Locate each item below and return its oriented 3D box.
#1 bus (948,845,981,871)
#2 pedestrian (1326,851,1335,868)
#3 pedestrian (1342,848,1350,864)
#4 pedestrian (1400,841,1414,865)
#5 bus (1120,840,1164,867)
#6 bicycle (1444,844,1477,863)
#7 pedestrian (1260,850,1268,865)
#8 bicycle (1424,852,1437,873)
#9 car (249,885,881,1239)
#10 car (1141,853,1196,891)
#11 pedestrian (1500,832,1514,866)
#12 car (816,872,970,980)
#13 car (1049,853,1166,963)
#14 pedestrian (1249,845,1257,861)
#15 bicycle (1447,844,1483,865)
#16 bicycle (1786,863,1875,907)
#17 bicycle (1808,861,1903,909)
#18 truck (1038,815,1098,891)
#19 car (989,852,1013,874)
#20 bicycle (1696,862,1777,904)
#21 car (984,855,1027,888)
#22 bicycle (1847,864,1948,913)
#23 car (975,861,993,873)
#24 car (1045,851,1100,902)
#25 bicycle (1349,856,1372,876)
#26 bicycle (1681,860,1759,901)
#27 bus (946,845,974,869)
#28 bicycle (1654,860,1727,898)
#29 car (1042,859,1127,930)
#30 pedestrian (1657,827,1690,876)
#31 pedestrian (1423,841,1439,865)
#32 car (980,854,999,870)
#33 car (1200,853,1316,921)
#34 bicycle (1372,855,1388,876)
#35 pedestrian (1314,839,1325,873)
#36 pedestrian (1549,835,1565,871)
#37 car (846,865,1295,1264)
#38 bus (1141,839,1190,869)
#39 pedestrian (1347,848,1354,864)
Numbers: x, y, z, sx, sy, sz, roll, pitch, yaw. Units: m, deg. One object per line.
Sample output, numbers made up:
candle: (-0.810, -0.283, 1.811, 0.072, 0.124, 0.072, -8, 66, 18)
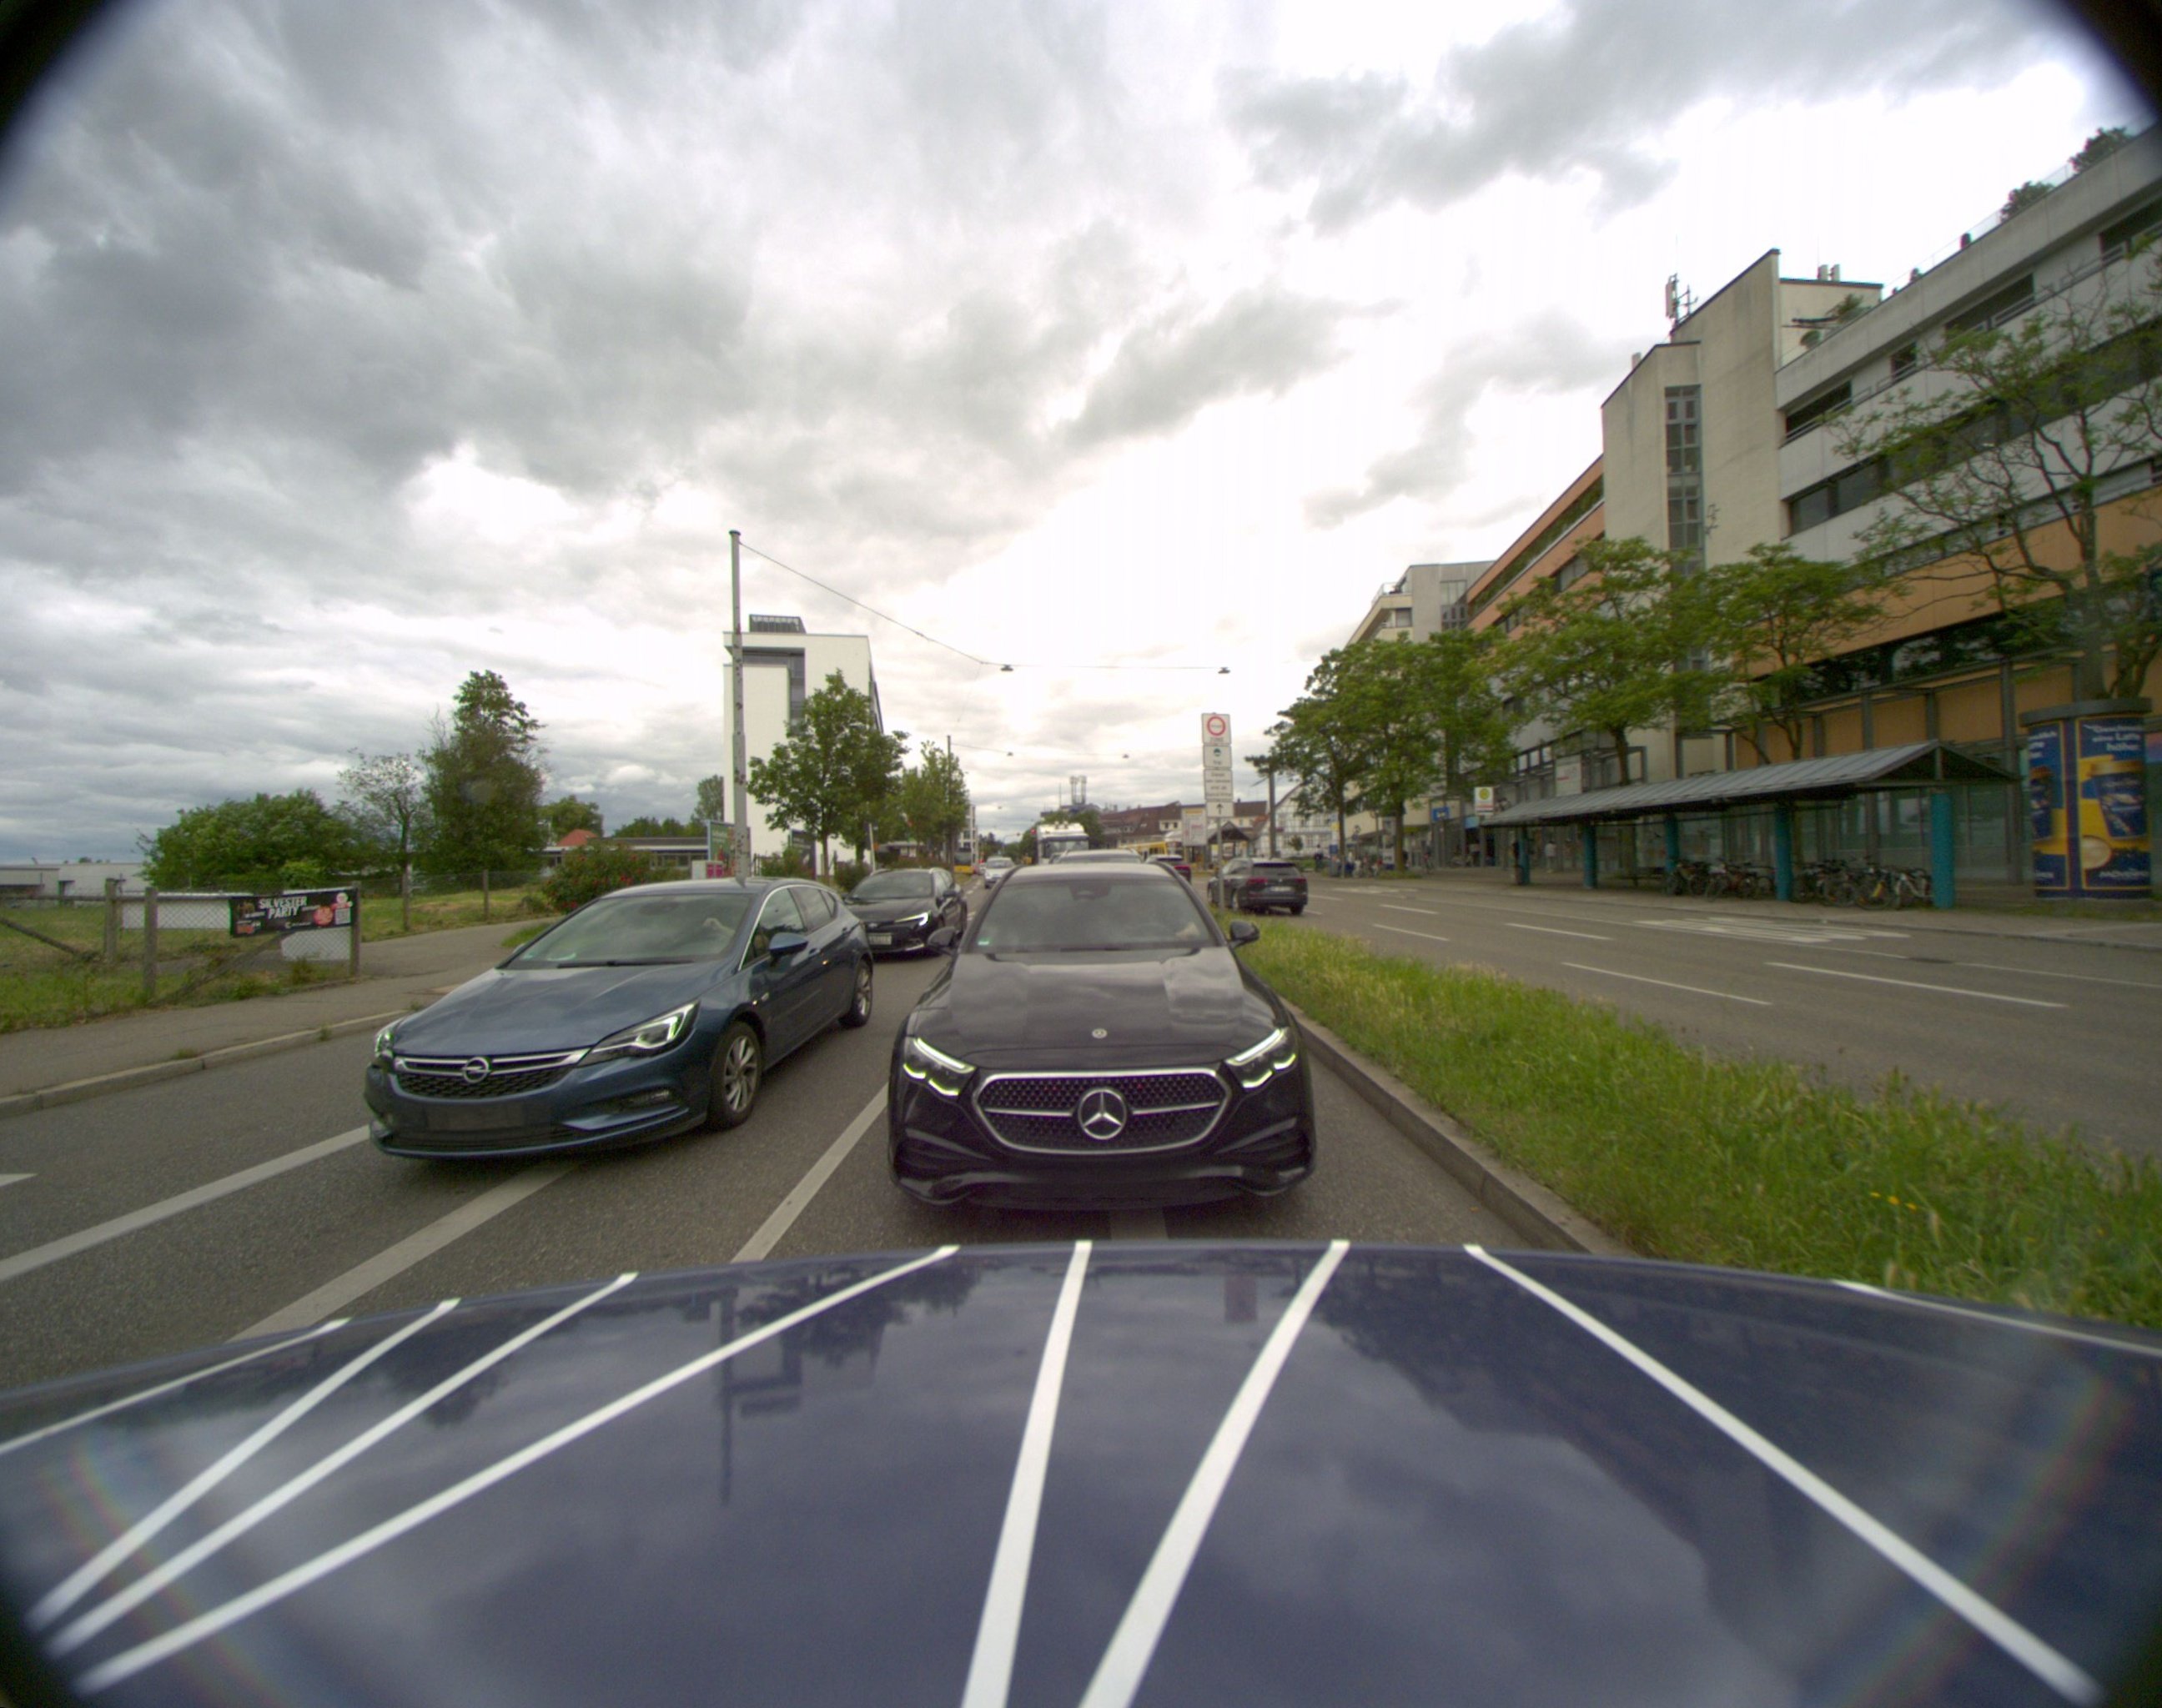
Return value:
bus: (-12.818, 0.387, 82.728, 2.969, 2.616, 12.137, -2, 1, -11)
pedestrian: (22.264, 0.510, 67.710, 0.577, 1.533, 0.583, -1, 1, -8)
pedestrian: (24.781, 0.216, 71.021, 0.555, 1.485, 0.454, -1, 1, 8)
pedestrian: (24.719, -0.086, 57.615, 0.765, 1.835, 0.752, -1, 1, 1)
bus: (6.933, -0.069, 87.952, 2.556, 2.966, 9.790, -1, 0, -11)
bicycle: (27.756, -0.033, 55.554, 2.138, 1.358, 0.620, -2, 1, 26)
pedestrian: (19.293, 0.358, 80.035, 0.577, 1.533, 0.583, -1, 1, -8)
bicycle: (19.486, 0.464, 42.386, 0.593, 1.119, 2.040, 0, 1, 24)
car: (-2.913, 1.048, 5.528, 1.826, 1.402, 4.000, -2, 0, 0)
car: (3.775, 0.733, 33.433, 1.840, 1.512, 4.070, 0, 1, -1)
pedestrian: (25.268, -0.315, 45.072, 0.566, 2.002, 0.611, -1, 1, 6)
car: (-3.085, 1.113, 13.269, 1.665, 1.448, 3.921, -2, 0, 0)
car: (0.393, 0.818, 13.484, 1.734, 1.601, 4.000, -2, 0, 0)
pedestrian: (22.349, -0.142, 98.961, 0.879, 2.002, 1.010, -1, 1, 6)
bicycle: (26.993, 0.025, 53.402, 2.139, 1.367, 0.620, -2, 1, 18)
bicycle: (19.025, 0.770, 19.310, 1.735, 1.035, 0.549, -2, 1, -2)
bicycle: (18.626, 0.748, 18.285, 1.735, 1.035, 0.549, -3, 1, -2)
truck: (-0.767, -0.046, 36.725, 2.490, 3.258, 7.428, -1, 0, -4)
car: (-7.548, 0.826, 71.433, 1.853, 1.875, 4.132, -3, 0, -11)
bicycle: (17.948, 0.786, 20.812, 1.735, 1.035, 0.549, -3, 1, -2)
car: (-4.078, 0.910, 41.621, 1.851, 1.606, 3.783, -3, 0, 0)
bicycle: (18.685, 0.780, 17.400, 1.735, 1.035, 0.549, -2, 1, -2)
car: (-13.970, 1.853, 109.752, 1.998, 1.592, 4.000, -1, 0, 2)
car: (-0.366, 0.773, 28.346, 1.865, 1.773, 3.999, -1, 0, -2)
bicycle: (15.478, 0.650, 42.019, 0.593, 1.071, 2.041, 0, 1, 38)
bicycle: (18.284, 0.739, 21.744, 1.735, 1.035, 0.549, -4, 1, -2)
bus: (-15.224, 0.342, 95.051, 2.969, 2.616, 12.911, -2, 1, -11)
bicycle: (18.205, 0.744, 22.705, 1.735, 1.035, 0.549, -3, 1, -2)
car: (0.045, 0.909, 18.910, 1.865, 1.520, 3.999, -1, 0, -1)
pedestrian: (25.015, -0.099, 32.067, 0.710, 2.002, 0.794, -2, 1, -7)
pedestrian: (24.351, -0.073, 52.895, 0.765, 1.673, 0.752, -1, 1, 1)
car: (-10.921, 0.956, 90.223, 2.000, 1.811, 3.996, -1, 0, -10)
car: (4.625, 0.805, 20.539, 1.714, 1.473, 4.284, 2, 2, -6)
bicycle: (16.401, 0.617, 41.647, 0.593, 1.071, 2.041, 0, 1, 29)
pedestrian: (16.500, 0.123, 52.604, 0.590, 2.294, 0.608, -1, 1, -2)
pedestrian: (24.098, -0.053, 38.490, 0.648, 1.799, 0.761, 0, 1, 34)
car: (-0.052, 0.883, 5.191, 1.793, 1.507, 4.249, -1, 0, 0)
bus: (8.698, -0.001, 79.016, 2.556, 2.966, 8.498, -1, 0, -11)
pedestrian: (19.491, 0.146, 55.032, 0.341, 1.172, 0.369, -1, 1, -9)
